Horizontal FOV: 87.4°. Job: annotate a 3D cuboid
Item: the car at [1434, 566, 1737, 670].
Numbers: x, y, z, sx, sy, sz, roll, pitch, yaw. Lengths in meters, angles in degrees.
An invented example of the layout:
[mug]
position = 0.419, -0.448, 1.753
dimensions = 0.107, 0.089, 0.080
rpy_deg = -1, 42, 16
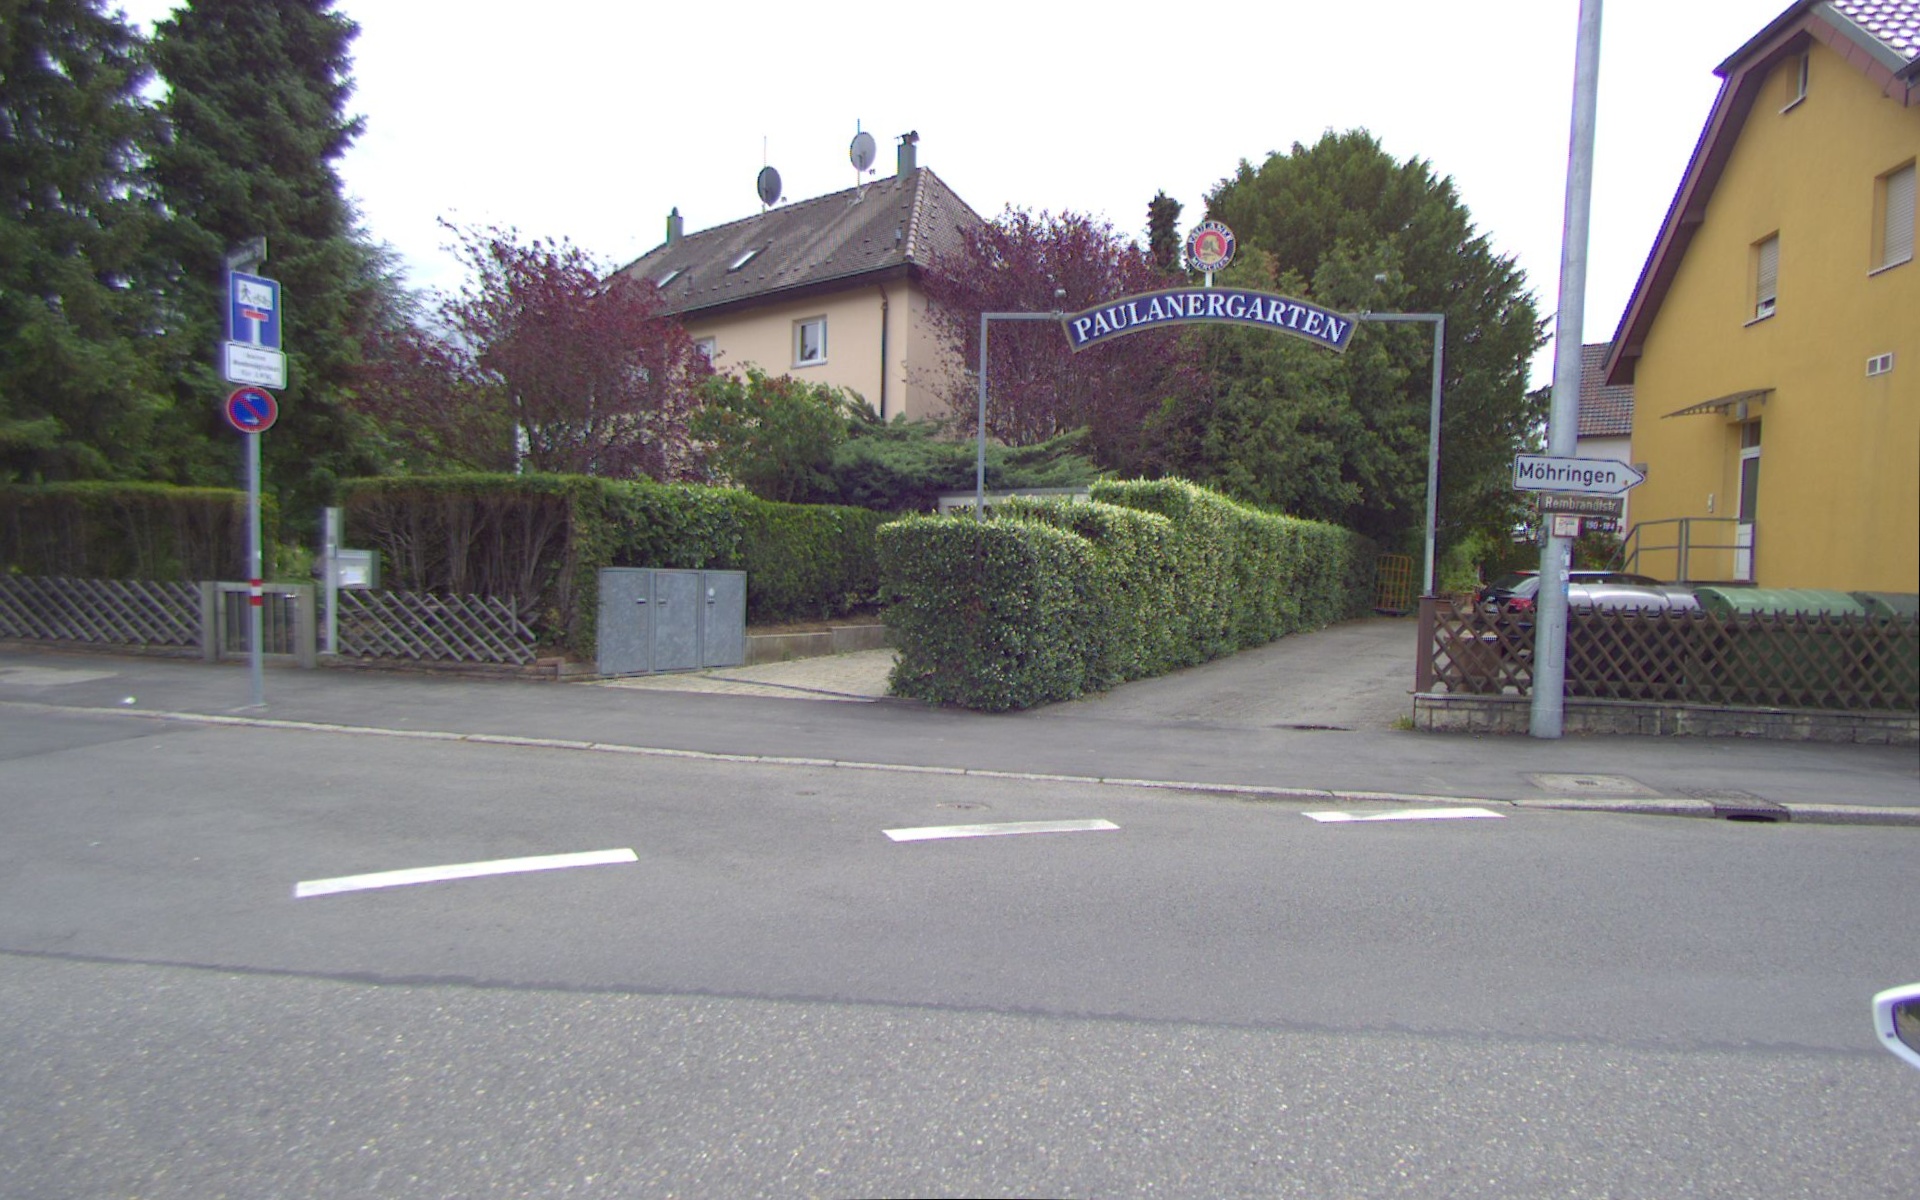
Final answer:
[car]
position = 9.689, 0.239, 15.799
dimensions = 3.606, 1.447, 1.727
rpy_deg = 1, 4, 2
